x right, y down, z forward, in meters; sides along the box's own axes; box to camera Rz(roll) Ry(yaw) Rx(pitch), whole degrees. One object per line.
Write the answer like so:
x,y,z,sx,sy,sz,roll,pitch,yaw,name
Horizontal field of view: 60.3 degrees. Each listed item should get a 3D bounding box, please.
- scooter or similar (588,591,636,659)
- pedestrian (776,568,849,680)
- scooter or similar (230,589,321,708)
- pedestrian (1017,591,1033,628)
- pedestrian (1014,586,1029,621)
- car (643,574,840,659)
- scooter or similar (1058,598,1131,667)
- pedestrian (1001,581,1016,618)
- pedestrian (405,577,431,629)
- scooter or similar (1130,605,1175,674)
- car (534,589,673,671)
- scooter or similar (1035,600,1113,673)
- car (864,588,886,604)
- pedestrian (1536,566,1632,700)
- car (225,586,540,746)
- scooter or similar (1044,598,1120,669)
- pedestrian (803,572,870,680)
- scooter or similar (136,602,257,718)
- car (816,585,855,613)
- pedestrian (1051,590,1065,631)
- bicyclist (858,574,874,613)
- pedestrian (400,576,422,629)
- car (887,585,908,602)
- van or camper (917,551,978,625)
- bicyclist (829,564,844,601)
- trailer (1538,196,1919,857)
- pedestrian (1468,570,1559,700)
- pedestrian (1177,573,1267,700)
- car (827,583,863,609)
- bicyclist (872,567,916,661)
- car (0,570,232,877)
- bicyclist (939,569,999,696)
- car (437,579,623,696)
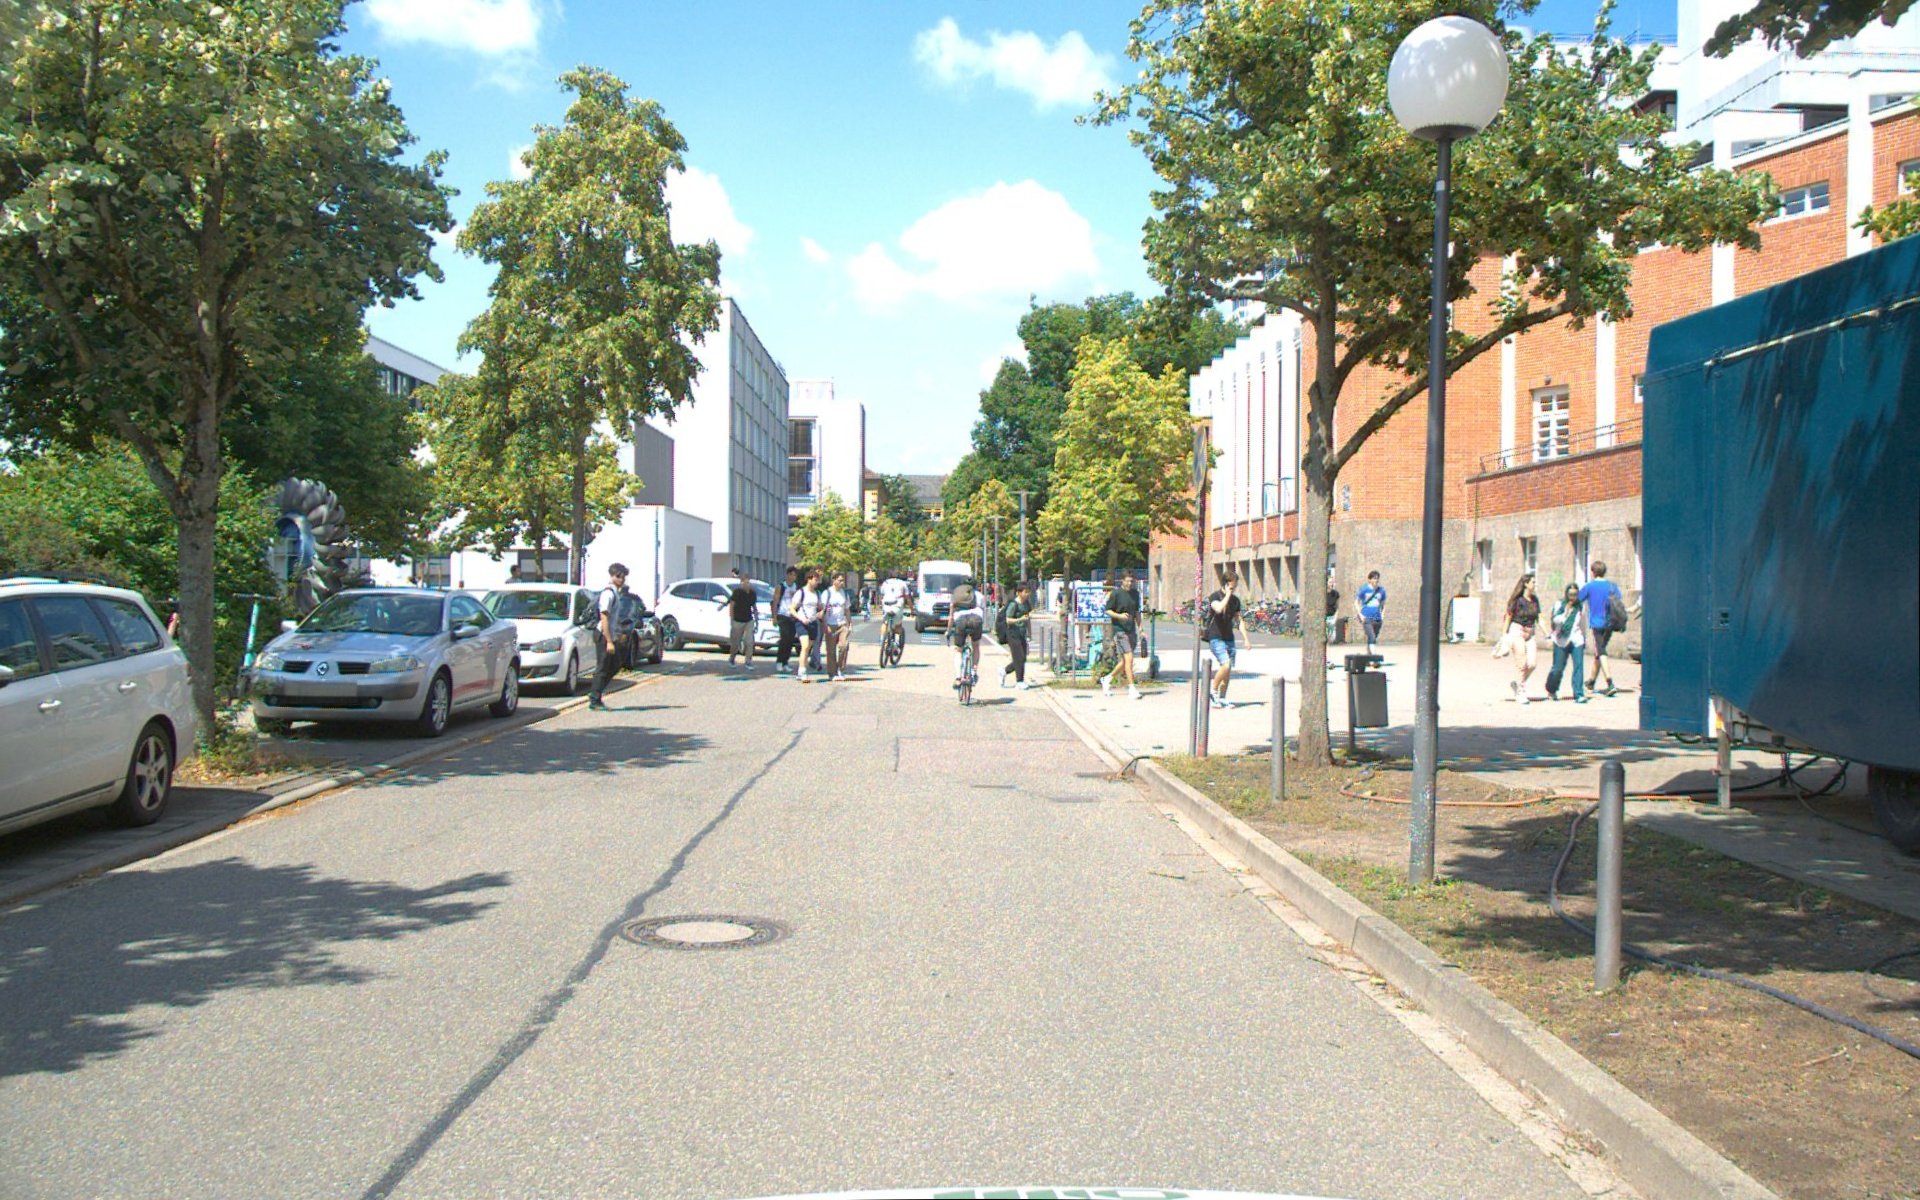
-7.060,0.495,33.613,0.493,1.322,1.217,-1,1,11,scooter or similar
-2.398,0.386,26.905,0.964,1.769,0.698,-1,-1,37,pedestrian
-8.087,0.554,19.588,0.513,1.310,1.229,-3,1,-1,scooter or similar
3.402,0.488,86.852,0.774,1.892,1.026,0,0,0,pedestrian
3.335,0.171,89.627,0.774,1.892,1.026,0,0,0,pedestrian
-4.869,0.335,36.520,4.443,1.647,1.911,2,-1,44,car
2.559,0.602,31.411,1.237,1.287,0.638,0,0,31,scooter or similar
2.540,-0.033,87.113,0.774,1.892,1.243,0,0,0,pedestrian
-18.734,0.091,57.211,0.679,1.780,0.636,1,0,-1,pedestrian
3.390,0.680,29.065,0.635,1.180,1.266,0,0,14,scooter or similar
-6.224,0.483,29.266,1.611,1.323,3.927,0,1,0,car
2.054,0.645,29.844,1.237,1.287,0.649,0,0,31,scooter or similar
-8.209,-0.406,160.650,1.758,1.557,4.002,0,0,3,car
8.330,0.429,22.121,0.858,1.665,0.949,-3,3,-1,pedestrian
-5.682,0.568,16.854,1.690,1.367,4.165,2,0,0,car
2.257,0.601,30.591,1.237,1.287,0.649,0,0,31,scooter or similar
-2.049,0.415,27.470,0.891,1.769,0.676,0,1,37,pedestrian
-8.184,0.623,17.766,0.460,1.192,1.228,0,0,18,scooter or similar
-7.093,-0.081,94.649,1.758,1.557,4.002,0,0,3,car
4.509,0.484,76.200,0.564,1.892,0.569,0,0,-3,pedestrian
-4.201,-0.279,74.048,0.654,1.711,0.992,-1,0,-5,bicyclist
-18.789,0.085,56.580,0.540,1.795,0.586,1,0,-1,pedestrian
-6.051,-0.638,160.490,1.758,1.557,4.002,0,0,3,car
-0.409,-0.398,58.102,1.952,2.488,4.570,-1,0,2,van or camper
-5.451,-0.764,72.975,0.630,1.629,0.908,-1,0,-3,bicyclist
5.777,-0.374,9.282,2.637,3.105,6.254,-1,0,-2,trailer
7.380,0.445,22.079,0.858,1.666,0.949,-1,1,-1,pedestrian
3.473,0.471,21.907,0.844,1.623,0.817,-2,1,-44,pedestrian
-7.093,-0.260,102.063,1.758,1.557,4.002,0,0,3,car
-1.269,0.273,32.087,0.755,1.787,0.849,1,0,3,bicyclist
-5.519,0.575,8.486,1.691,1.482,4.581,2,0,-3,car
0.120,0.436,22.927,0.703,1.691,1.094,2,0,-3,bicyclist
-5.838,0.456,22.863,1.628,1.436,3.806,1,0,-2,car
